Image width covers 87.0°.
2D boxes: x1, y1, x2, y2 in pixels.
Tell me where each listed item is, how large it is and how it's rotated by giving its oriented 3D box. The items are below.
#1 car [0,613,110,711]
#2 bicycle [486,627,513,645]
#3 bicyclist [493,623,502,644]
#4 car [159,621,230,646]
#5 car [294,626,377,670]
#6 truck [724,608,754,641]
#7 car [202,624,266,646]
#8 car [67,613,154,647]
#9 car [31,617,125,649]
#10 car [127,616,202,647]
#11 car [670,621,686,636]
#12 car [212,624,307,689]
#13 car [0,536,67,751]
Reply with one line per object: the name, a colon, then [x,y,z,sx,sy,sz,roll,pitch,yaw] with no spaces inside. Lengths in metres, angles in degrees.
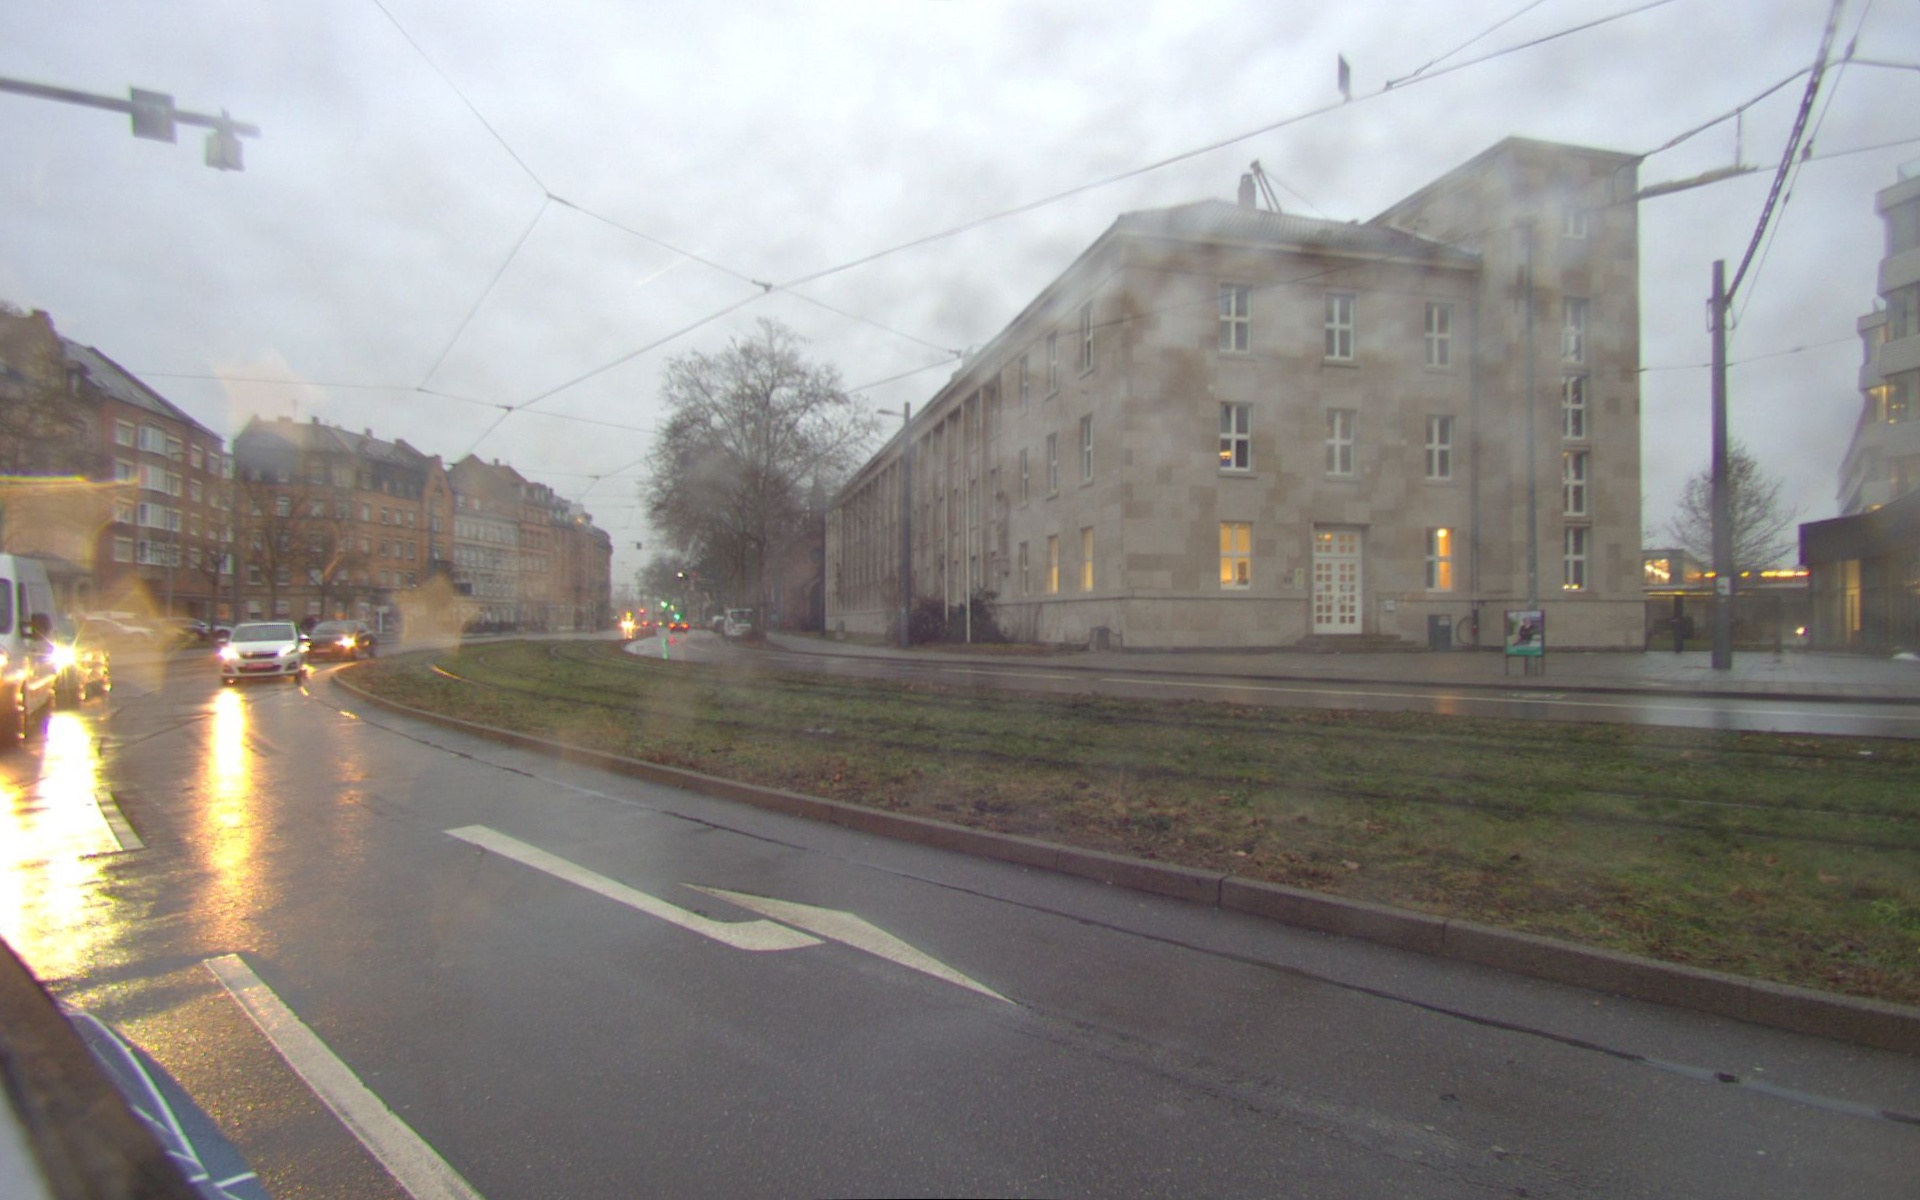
car: [-17.897,1.129,19.587,1.846,1.701,4.181,0,-1,-35]
bicycle: [-45.608,3.591,100.215,2.410,1.719,0.848,-1,0,-19]
bicyclist: [-45.764,3.299,100.167,0.766,2.029,0.833,-1,0,-20]
car: [-43.722,1.910,57.863,3.134,1.424,1.385,1,-2,-35]
car: [-23.025,1.730,37.475,1.809,1.545,3.828,0,-2,-19]
truck: [-14.351,1.593,65.692,1.808,2.060,4.010,0,-2,-13]
car: [-44.327,2.116,61.827,3.134,1.293,1.385,1,-2,-35]
car: [-41.534,1.455,49.551,3.135,1.636,1.431,1,-2,-37]
car: [-40.721,1.521,46.797,3.135,1.440,1.431,1,-2,-37]
car: [-43.117,1.689,54.916,3.135,1.636,1.449,1,-2,-37]
car: [-30.665,3.088,110.064,1.662,1.652,3.657,0,-2,-16]
car: [-17.179,1.340,24.957,1.662,1.441,3.356,0,-1,-30]
car: [-13.504,0.554,13.374,2.207,2.481,5.681,0,-1,-38]
